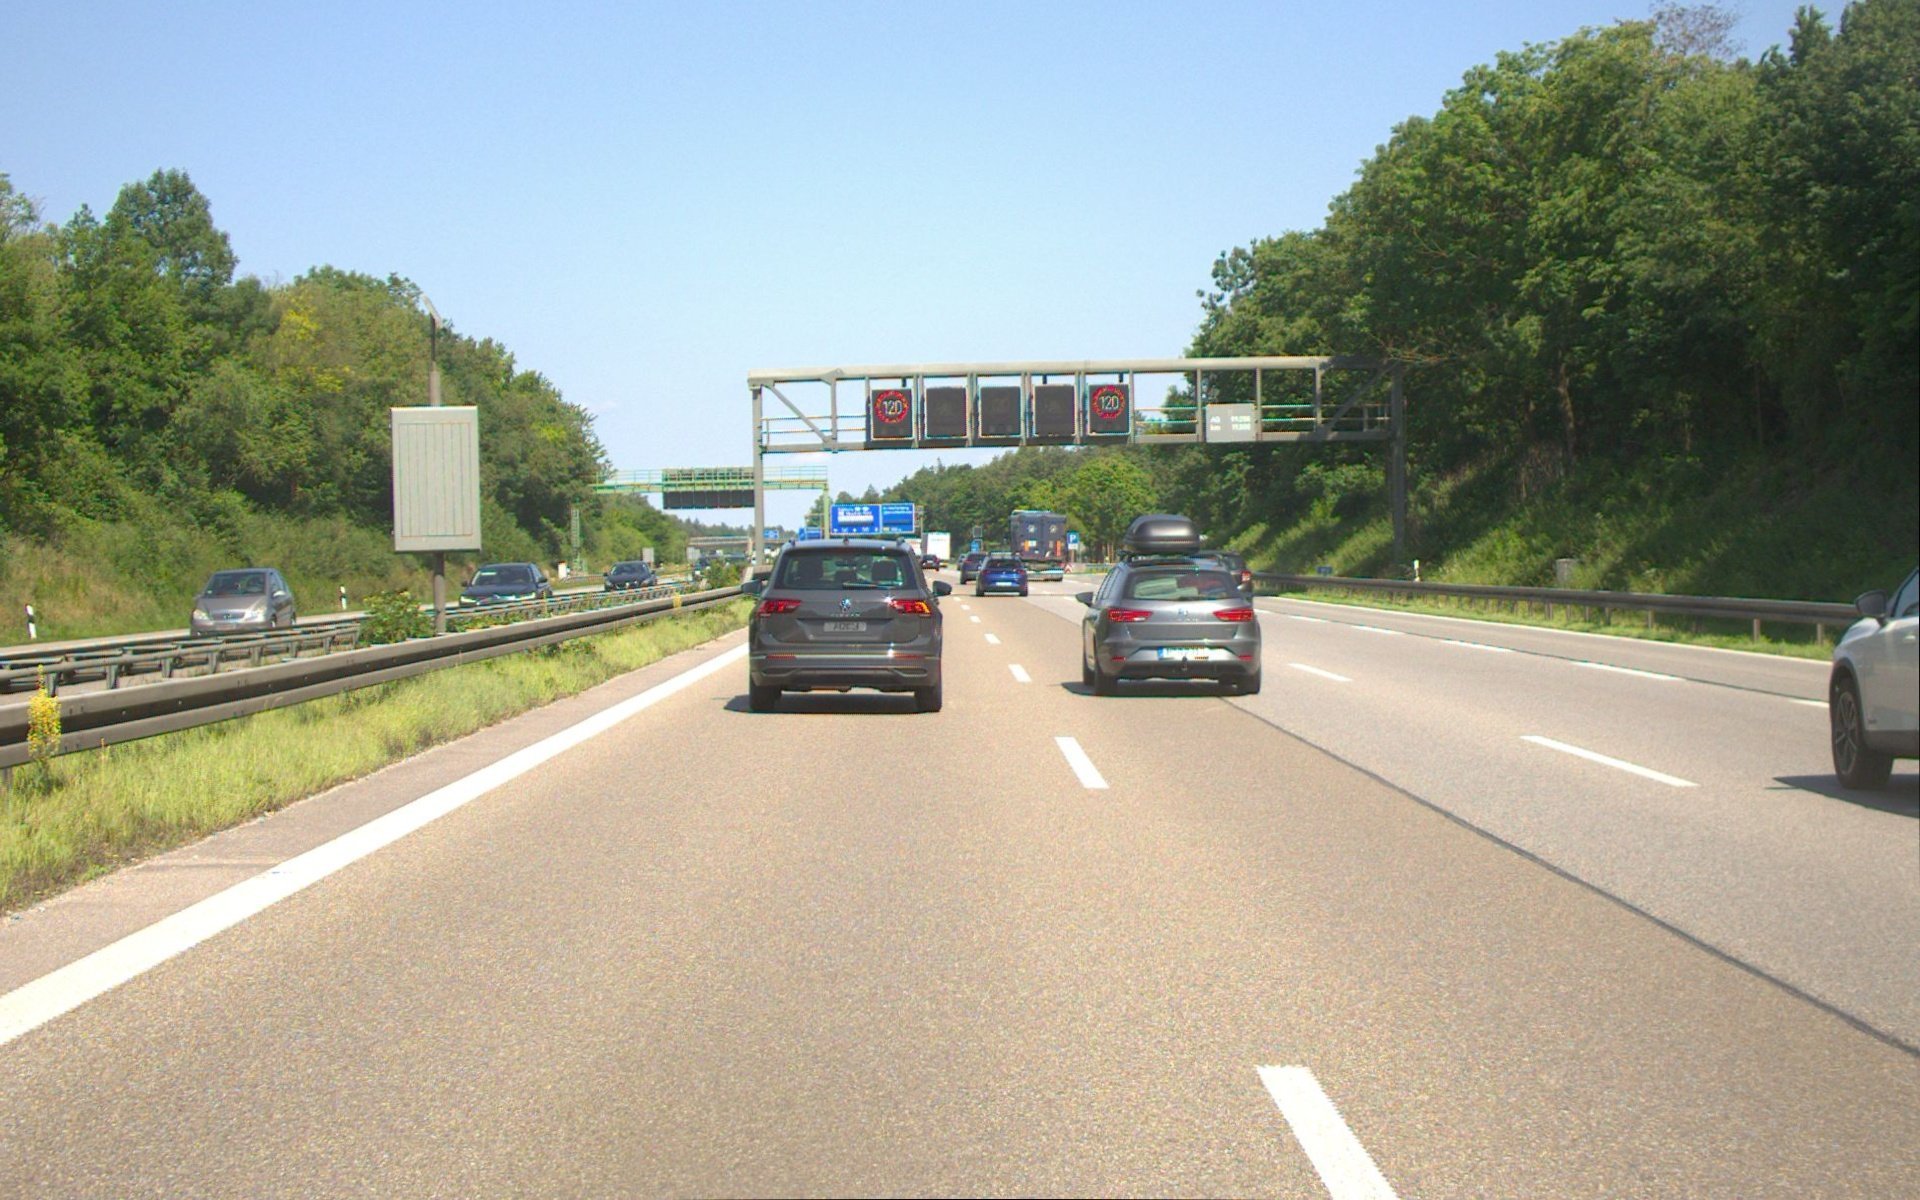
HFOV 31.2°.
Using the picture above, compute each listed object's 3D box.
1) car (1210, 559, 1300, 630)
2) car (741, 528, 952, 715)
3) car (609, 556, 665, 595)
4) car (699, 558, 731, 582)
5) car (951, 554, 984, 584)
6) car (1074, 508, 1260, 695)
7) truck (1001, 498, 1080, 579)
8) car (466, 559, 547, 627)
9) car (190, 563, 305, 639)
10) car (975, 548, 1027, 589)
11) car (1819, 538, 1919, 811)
[{"bbox_3d":[6.822,-0.149,79.774,1.765,1.563,4.258,1,1,1],"label":"car"},{"bbox_3d":[-1.032,0.156,33.201,1.799,1.663,4.258,1,1,1],"label":"car"},{"bbox_3d":[-12.147,-0.947,129.430,1.713,1.393,4.150,-1,1,-1],"label":"car"},{"bbox_3d":[-12.941,-1.585,181.692,1.479,1.206,3.458,-1,1,-1],"label":"car"},{"bbox_3d":[0.349,-1.538,170.867,1.471,1.393,3.410,2,1,-2],"label":"car"},{"bbox_3d":[2.196,-0.027,37.488,1.665,1.870,4.827,-1,1,0],"label":"car"},{"bbox_3d":[4.499,-3.459,195.223,3.780,4.407,14.052,0,1,-2],"label":"truck"},{"bbox_3d":[-10.498,-0.180,79.774,1.433,1.523,3.458,-1,1,-1],"label":"car"},{"bbox_3d":[-14.838,-0.001,71.733,1.675,1.490,3.545,-1,1,-1],"label":"car"},{"bbox_3d":[1.451,-1.117,120.711,1.765,1.377,4.258,1,1,1],"label":"car"},{"bbox_3d":[6.405,0.428,19.830,1.843,1.563,4.036,0,1,0],"label":"car"}]
